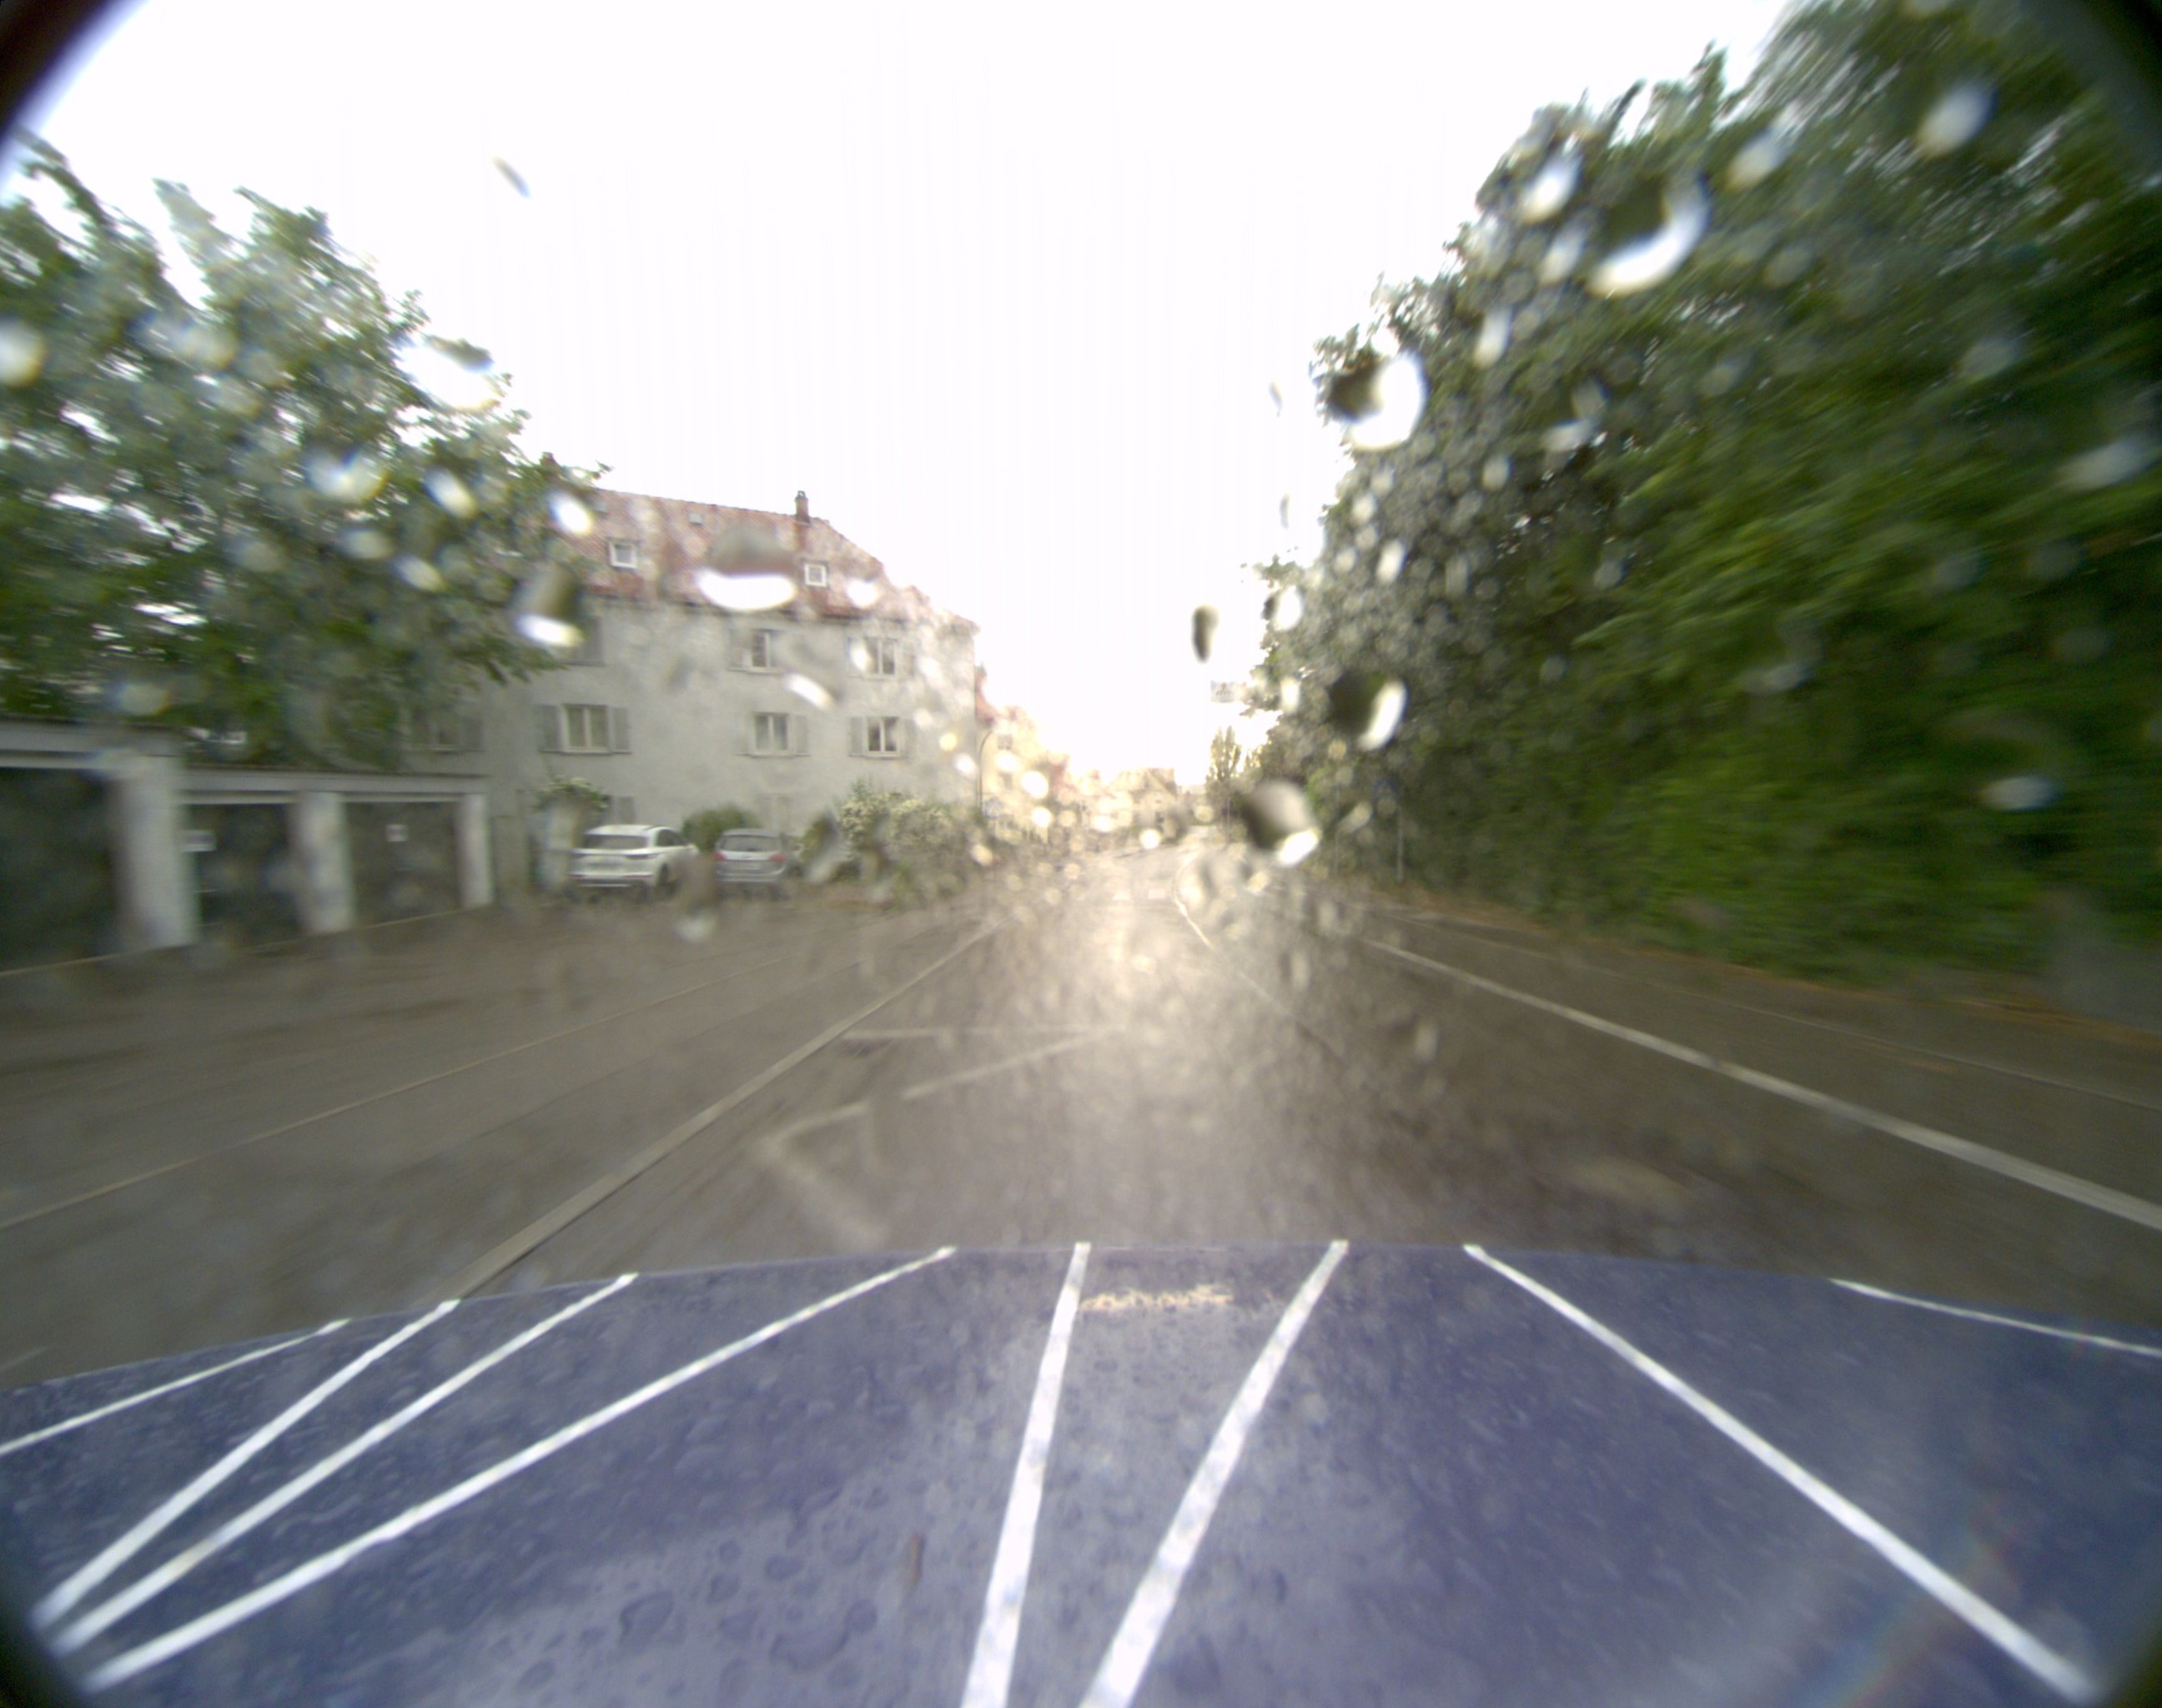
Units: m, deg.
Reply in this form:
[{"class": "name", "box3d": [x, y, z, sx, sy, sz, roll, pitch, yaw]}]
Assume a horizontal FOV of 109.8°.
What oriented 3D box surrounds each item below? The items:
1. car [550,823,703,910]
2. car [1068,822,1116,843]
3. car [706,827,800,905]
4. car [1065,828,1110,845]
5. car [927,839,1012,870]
[{"class": "car", "box3d": [-10.256, 0.179, 17.548, 1.797, 1.585, 4.248, 1, 4, -13]}, {"class": "car", "box3d": [1.008, -1.996, 69.366, 3.938, 1.772, 1.767, 0, 4, -16]}, {"class": "car", "box3d": [-7.961, 0.225, 18.719, 1.726, 1.555, 3.786, 1, 4, -17]}, {"class": "car", "box3d": [0.566, -1.565, 66.881, 3.528, 1.332, 1.684, 0, 4, -18]}, {"class": "car", "box3d": [-5.906, 0.030, 40.191, 4.084, 1.400, 1.726, -2, 2, 22]}]
